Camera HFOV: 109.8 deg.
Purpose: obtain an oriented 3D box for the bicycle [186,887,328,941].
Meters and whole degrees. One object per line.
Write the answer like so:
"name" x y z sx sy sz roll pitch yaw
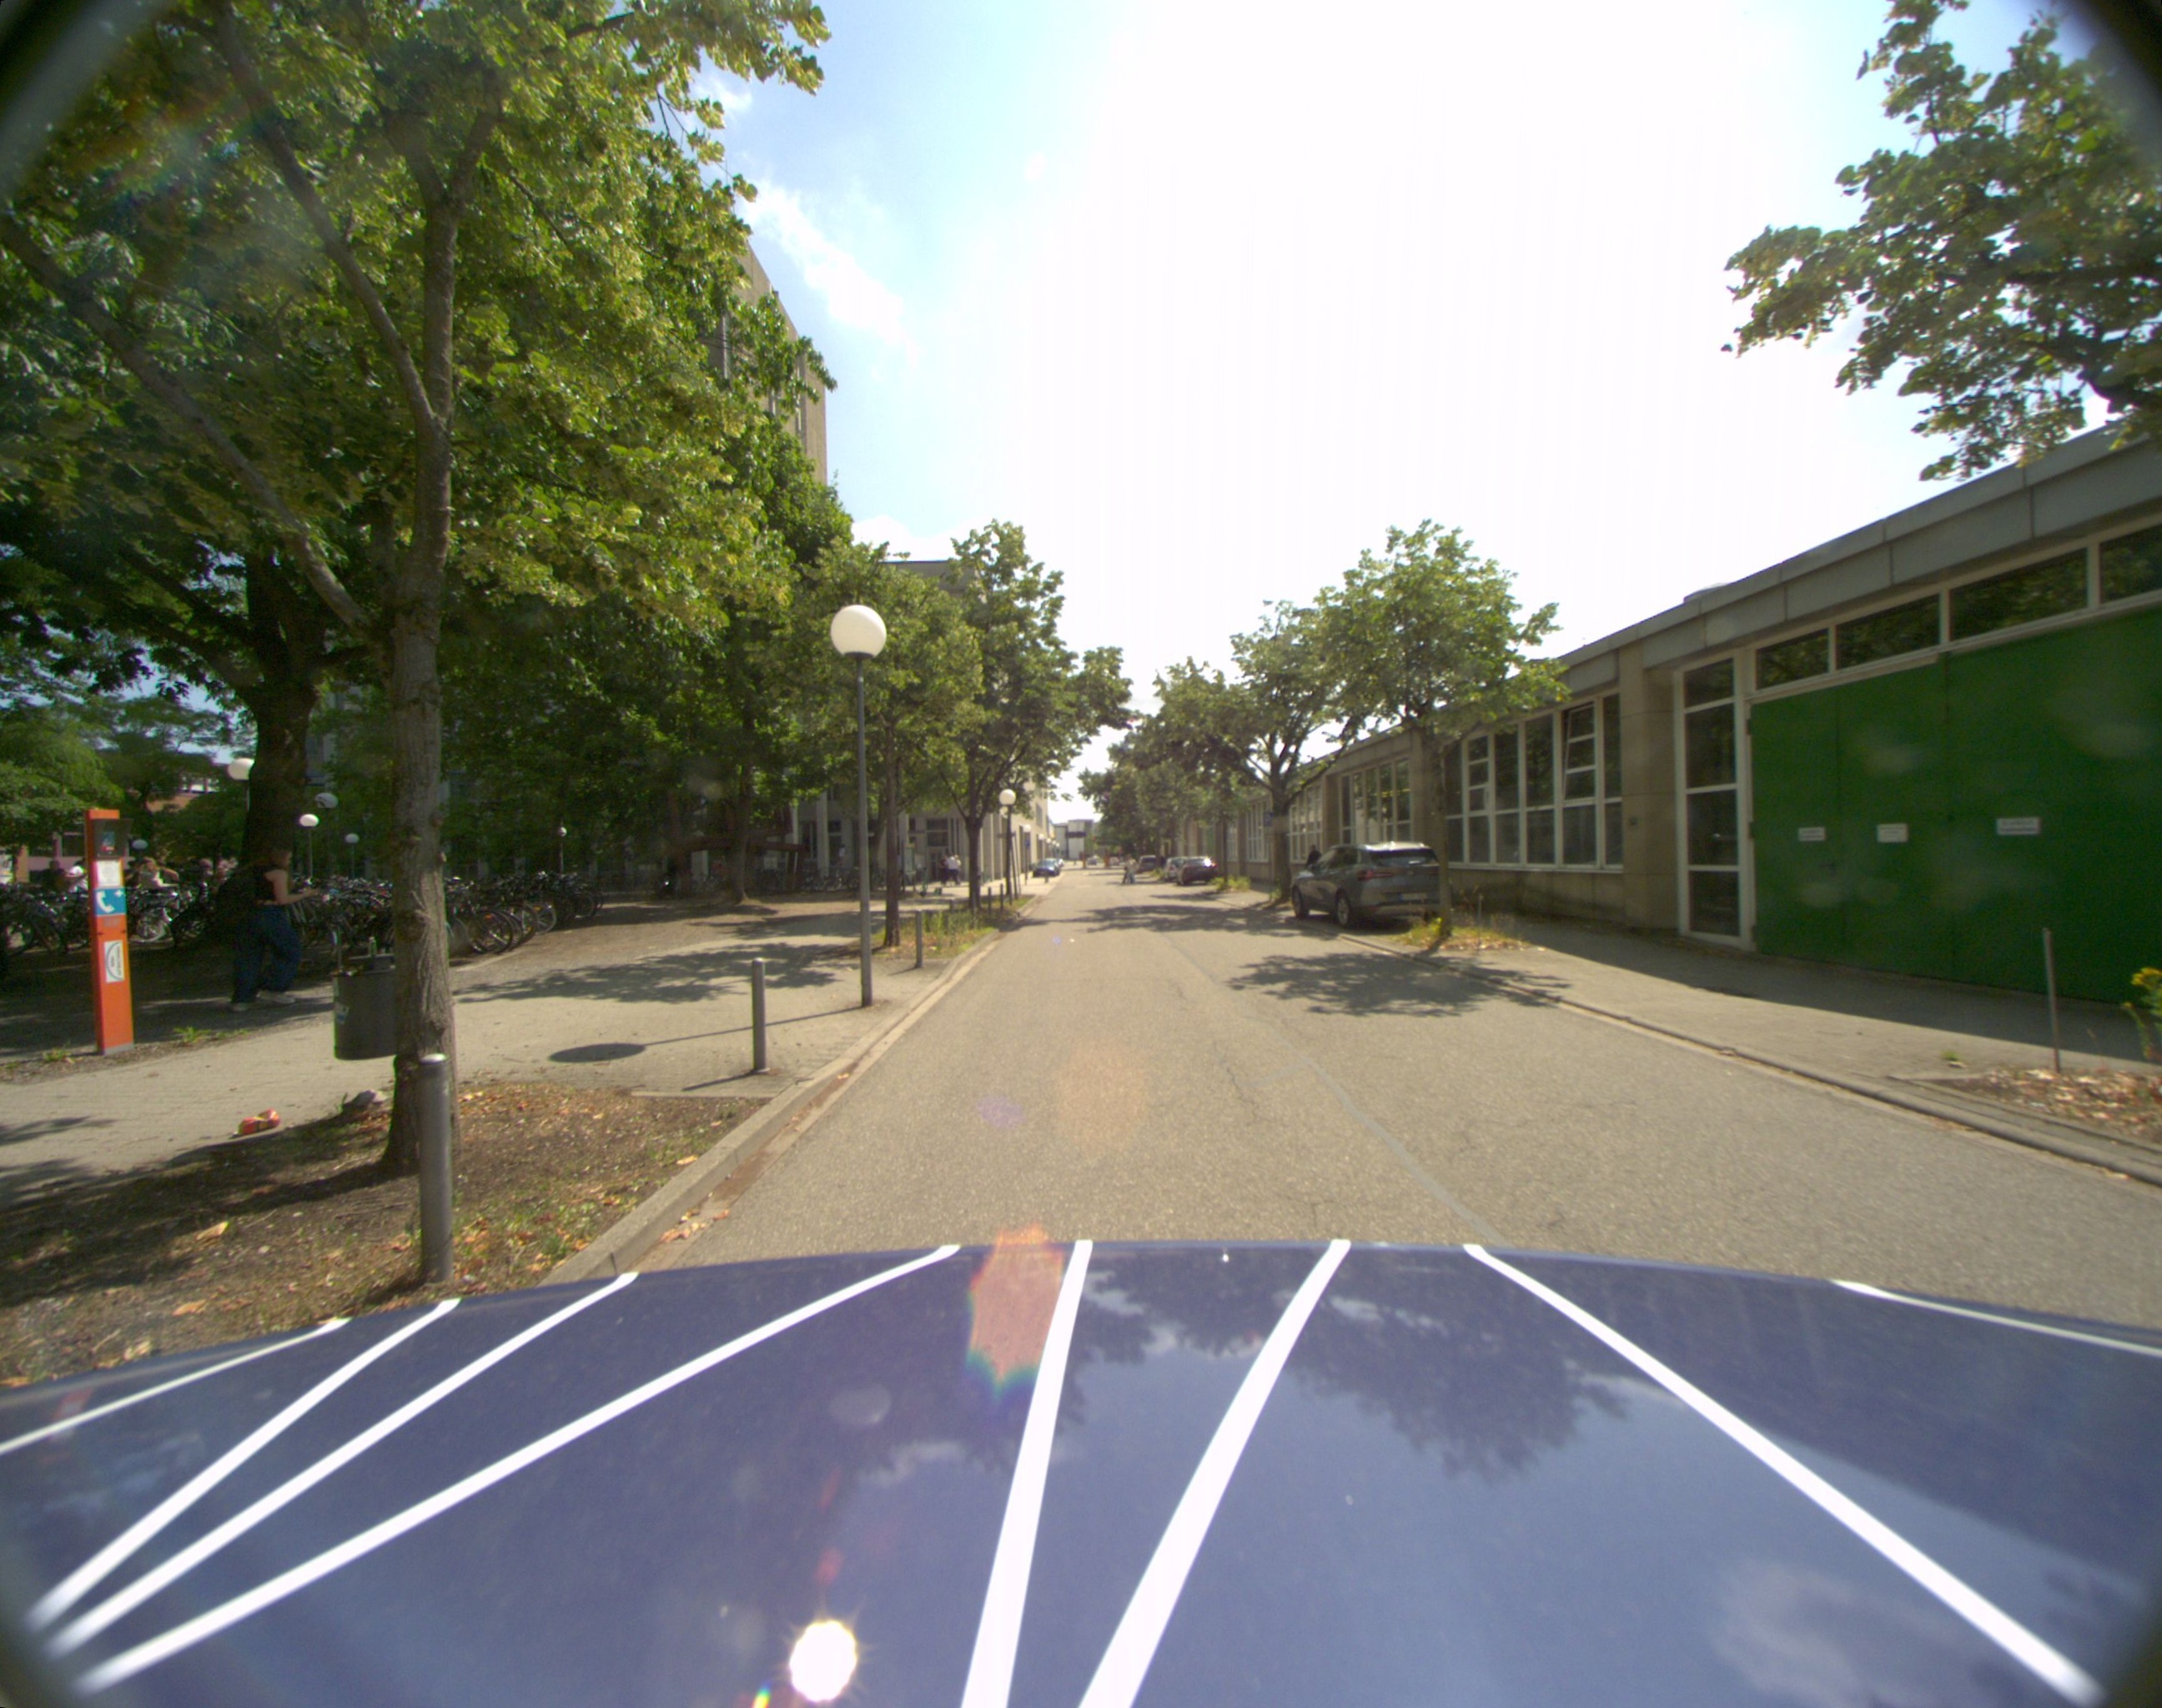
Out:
"bicycle" -16.729 1.199 15.499 1.908 0.973 0.477 0 1 -41

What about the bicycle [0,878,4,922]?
"bicycle" -27.362 1.145 18.289 1.614 1.087 0.347 0 1 -35

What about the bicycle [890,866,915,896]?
"bicycle" -7.091 1.054 30.170 0.629 1.078 1.684 -3 3 -22

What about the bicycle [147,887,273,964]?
"bicycle" -14.133 1.112 12.401 0.479 1.076 1.900 0 0 -20

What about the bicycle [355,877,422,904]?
"bicycle" -27.301 1.423 29.989 1.907 0.973 0.477 0 1 -37

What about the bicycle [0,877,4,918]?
"bicycle" -29.693 1.165 19.941 1.614 1.087 0.347 0 1 -37

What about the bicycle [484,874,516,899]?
"bicycle" -25.925 1.435 33.931 0.352 1.077 1.471 -1 0 -3

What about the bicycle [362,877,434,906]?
"bicycle" -24.661 1.343 27.470 1.908 0.973 0.477 0 1 -44

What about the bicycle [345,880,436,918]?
"bicycle" -19.894 1.277 21.938 0.377 0.973 1.908 0 1 41

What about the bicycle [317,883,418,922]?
"bicycle" -19.014 1.277 20.292 1.907 0.973 0.378 0 1 -30

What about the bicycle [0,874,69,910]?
"bicycle" -33.852 1.205 24.382 0.347 1.087 1.615 1 1 42

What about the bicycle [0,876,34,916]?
"bicycle" -30.216 1.173 20.912 1.614 1.087 0.347 0 1 -37

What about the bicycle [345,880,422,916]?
"bicycle" -21.636 1.354 23.608 1.746 1.017 0.292 0 1 -40

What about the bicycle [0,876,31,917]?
"bicycle" -30.058 1.174 20.727 1.614 1.087 0.335 0 1 -37

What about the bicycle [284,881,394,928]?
"bicycle" -18.498 1.229 18.990 1.907 1.076 0.477 0 1 -36

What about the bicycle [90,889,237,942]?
"bicycle" -19.043 1.252 15.825 1.907 0.973 0.377 0 1 -39

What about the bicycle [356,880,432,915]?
"bicycle" -21.652 1.359 23.982 1.746 1.017 0.477 0 1 -40

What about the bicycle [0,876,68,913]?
"bicycle" -32.505 1.229 23.349 0.347 1.087 1.615 1 1 42

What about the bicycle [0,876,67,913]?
"bicycle" -32.244 1.233 23.120 0.347 1.087 1.615 1 1 42

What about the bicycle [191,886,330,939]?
"bicycle" -16.989 1.194 15.803 1.908 0.973 0.477 0 1 -41

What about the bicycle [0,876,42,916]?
"bicycle" -30.401 1.172 21.208 1.614 1.087 0.347 0 1 -37

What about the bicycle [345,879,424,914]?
"bicycle" -21.365 1.290 23.350 1.746 1.017 0.477 0 1 -40

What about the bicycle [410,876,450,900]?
"bicycle" -31.044 1.631 36.264 0.478 1.077 1.688 -4 -1 -4

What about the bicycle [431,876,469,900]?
"bicycle" -30.140 1.630 36.323 0.478 1.077 1.688 -4 -1 -4

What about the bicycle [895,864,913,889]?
"bicycle" -8.464 1.088 36.442 0.561 1.135 1.489 1 1 -2

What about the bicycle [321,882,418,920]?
"bicycle" -19.507 1.284 20.872 1.907 0.973 0.378 0 1 -30

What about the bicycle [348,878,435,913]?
"bicycle" -20.755 1.238 22.901 0.377 0.973 1.908 1 1 42

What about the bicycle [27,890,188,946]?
"bicycle" -19.006 1.230 14.896 1.907 0.973 0.377 0 1 -39

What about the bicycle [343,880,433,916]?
"bicycle" -20.238 1.271 22.227 0.377 0.973 1.908 0 1 41

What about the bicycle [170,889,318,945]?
"bicycle" -16.477 1.215 15.022 1.908 0.973 0.477 0 1 -40

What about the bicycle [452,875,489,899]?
"bicycle" -29.184 1.567 36.351 0.478 1.077 1.688 -4 -1 -4

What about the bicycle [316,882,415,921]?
"bicycle" -19.349 1.270 20.579 1.907 0.973 0.378 0 1 -30

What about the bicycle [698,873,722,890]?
"bicycle" -21.827 1.598 44.746 0.337 0.894 1.777 -2 0 6

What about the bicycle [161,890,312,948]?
"bicycle" -16.092 1.213 14.545 0.477 0.973 1.908 0 1 42

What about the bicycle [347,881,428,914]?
"bicycle" -22.370 1.401 24.555 1.908 0.973 0.477 0 1 -43

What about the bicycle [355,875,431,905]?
"bicycle" -23.927 1.240 26.437 0.477 0.973 1.908 0 0 41

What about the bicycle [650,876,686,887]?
"bicycle" -27.001 1.796 49.672 1.990 0.755 0.643 0 -1 -9

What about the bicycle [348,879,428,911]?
"bicycle" -22.629 1.329 24.841 1.908 0.973 0.477 0 1 -43

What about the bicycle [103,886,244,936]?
"bicycle" -19.842 1.234 16.674 1.907 0.973 0.477 0 1 -38

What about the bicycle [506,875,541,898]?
"bicycle" -26.897 1.562 36.662 0.478 1.077 1.688 -4 -1 -4

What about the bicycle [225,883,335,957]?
"bicycle" -13.426 1.063 12.804 0.479 1.076 1.900 0 0 -20

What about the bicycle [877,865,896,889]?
"bicycle" -9.389 1.124 36.700 0.561 1.134 1.490 1 -1 -2

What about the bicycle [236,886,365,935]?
"bicycle" -17.077 1.226 16.671 1.907 0.973 0.477 0 1 -30

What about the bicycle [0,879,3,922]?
"bicycle" -28.188 1.191 18.829 1.614 1.087 0.477 0 1 -37

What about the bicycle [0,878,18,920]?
"bicycle" -28.983 1.182 19.692 1.614 1.087 0.347 0 1 -37

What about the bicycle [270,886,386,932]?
"bicycle" -17.792 1.283 18.015 1.907 0.973 0.477 0 1 -39

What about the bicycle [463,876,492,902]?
"bicycle" -26.859 1.560 33.837 0.353 1.077 1.470 -1 0 -12

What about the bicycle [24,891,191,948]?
"bicycle" -18.637 1.228 14.611 1.907 0.973 0.477 0 1 -39

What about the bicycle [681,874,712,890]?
"bicycle" -22.661 1.643 44.830 0.447 0.894 1.779 -2 -1 19

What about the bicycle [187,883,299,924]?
"bicycle" -21.524 1.251 19.559 1.907 0.973 0.378 0 1 -30

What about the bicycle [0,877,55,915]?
"bicycle" -31.476 1.243 22.280 0.347 1.087 1.614 0 0 34

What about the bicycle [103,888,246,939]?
"bicycle" -19.246 1.239 16.191 1.907 0.973 0.377 0 1 -39

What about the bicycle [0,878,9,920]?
"bicycle" -28.769 1.182 19.371 1.614 1.087 0.347 0 1 -37
